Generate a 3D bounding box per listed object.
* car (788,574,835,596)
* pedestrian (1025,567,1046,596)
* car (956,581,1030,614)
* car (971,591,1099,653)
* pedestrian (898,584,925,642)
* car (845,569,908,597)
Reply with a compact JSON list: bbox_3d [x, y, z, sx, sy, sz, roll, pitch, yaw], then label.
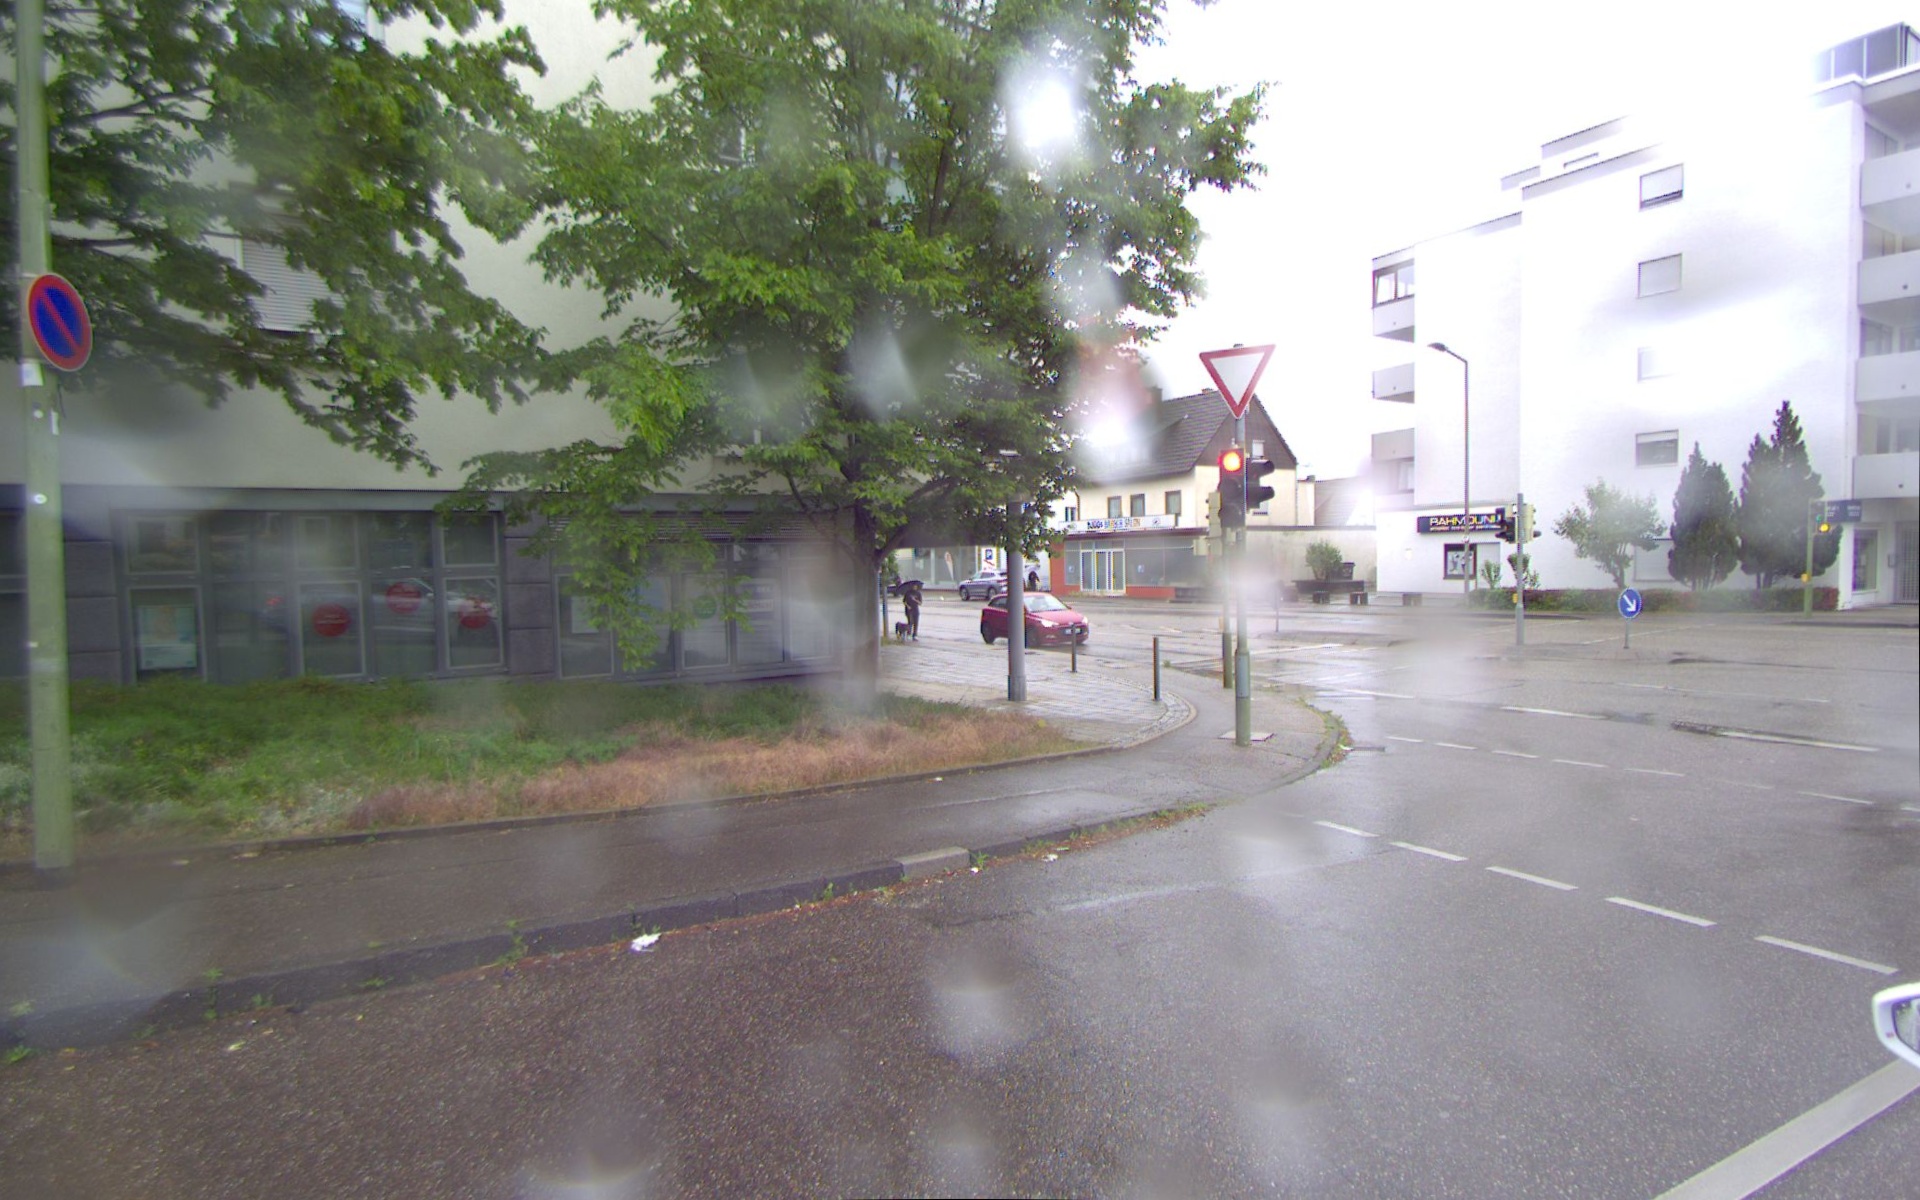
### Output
[{"bbox_3d":[-11.100,-1.123,74.860,1.803,1.468,4.162,-5,4,-35],"label":"car"},{"bbox_3d":[4.179,-1.024,55.601,0.746,1.589,0.985,-1,1,-30],"label":"pedestrian"},{"bbox_3d":[1.781,-0.161,56.329,1.858,1.665,4.754,-6,3,-30],"label":"car"},{"bbox_3d":[2.099,0.564,29.365,1.759,1.527,4.073,-6,3,-28],"label":"car"},{"bbox_3d":[-1.479,0.375,30.603,0.657,1.725,0.945,-1,2,-11],"label":"pedestrian"},{"bbox_3d":[-5.626,-1.119,66.883,2.020,1.718,4.917,-6,4,-33],"label":"car"}]
